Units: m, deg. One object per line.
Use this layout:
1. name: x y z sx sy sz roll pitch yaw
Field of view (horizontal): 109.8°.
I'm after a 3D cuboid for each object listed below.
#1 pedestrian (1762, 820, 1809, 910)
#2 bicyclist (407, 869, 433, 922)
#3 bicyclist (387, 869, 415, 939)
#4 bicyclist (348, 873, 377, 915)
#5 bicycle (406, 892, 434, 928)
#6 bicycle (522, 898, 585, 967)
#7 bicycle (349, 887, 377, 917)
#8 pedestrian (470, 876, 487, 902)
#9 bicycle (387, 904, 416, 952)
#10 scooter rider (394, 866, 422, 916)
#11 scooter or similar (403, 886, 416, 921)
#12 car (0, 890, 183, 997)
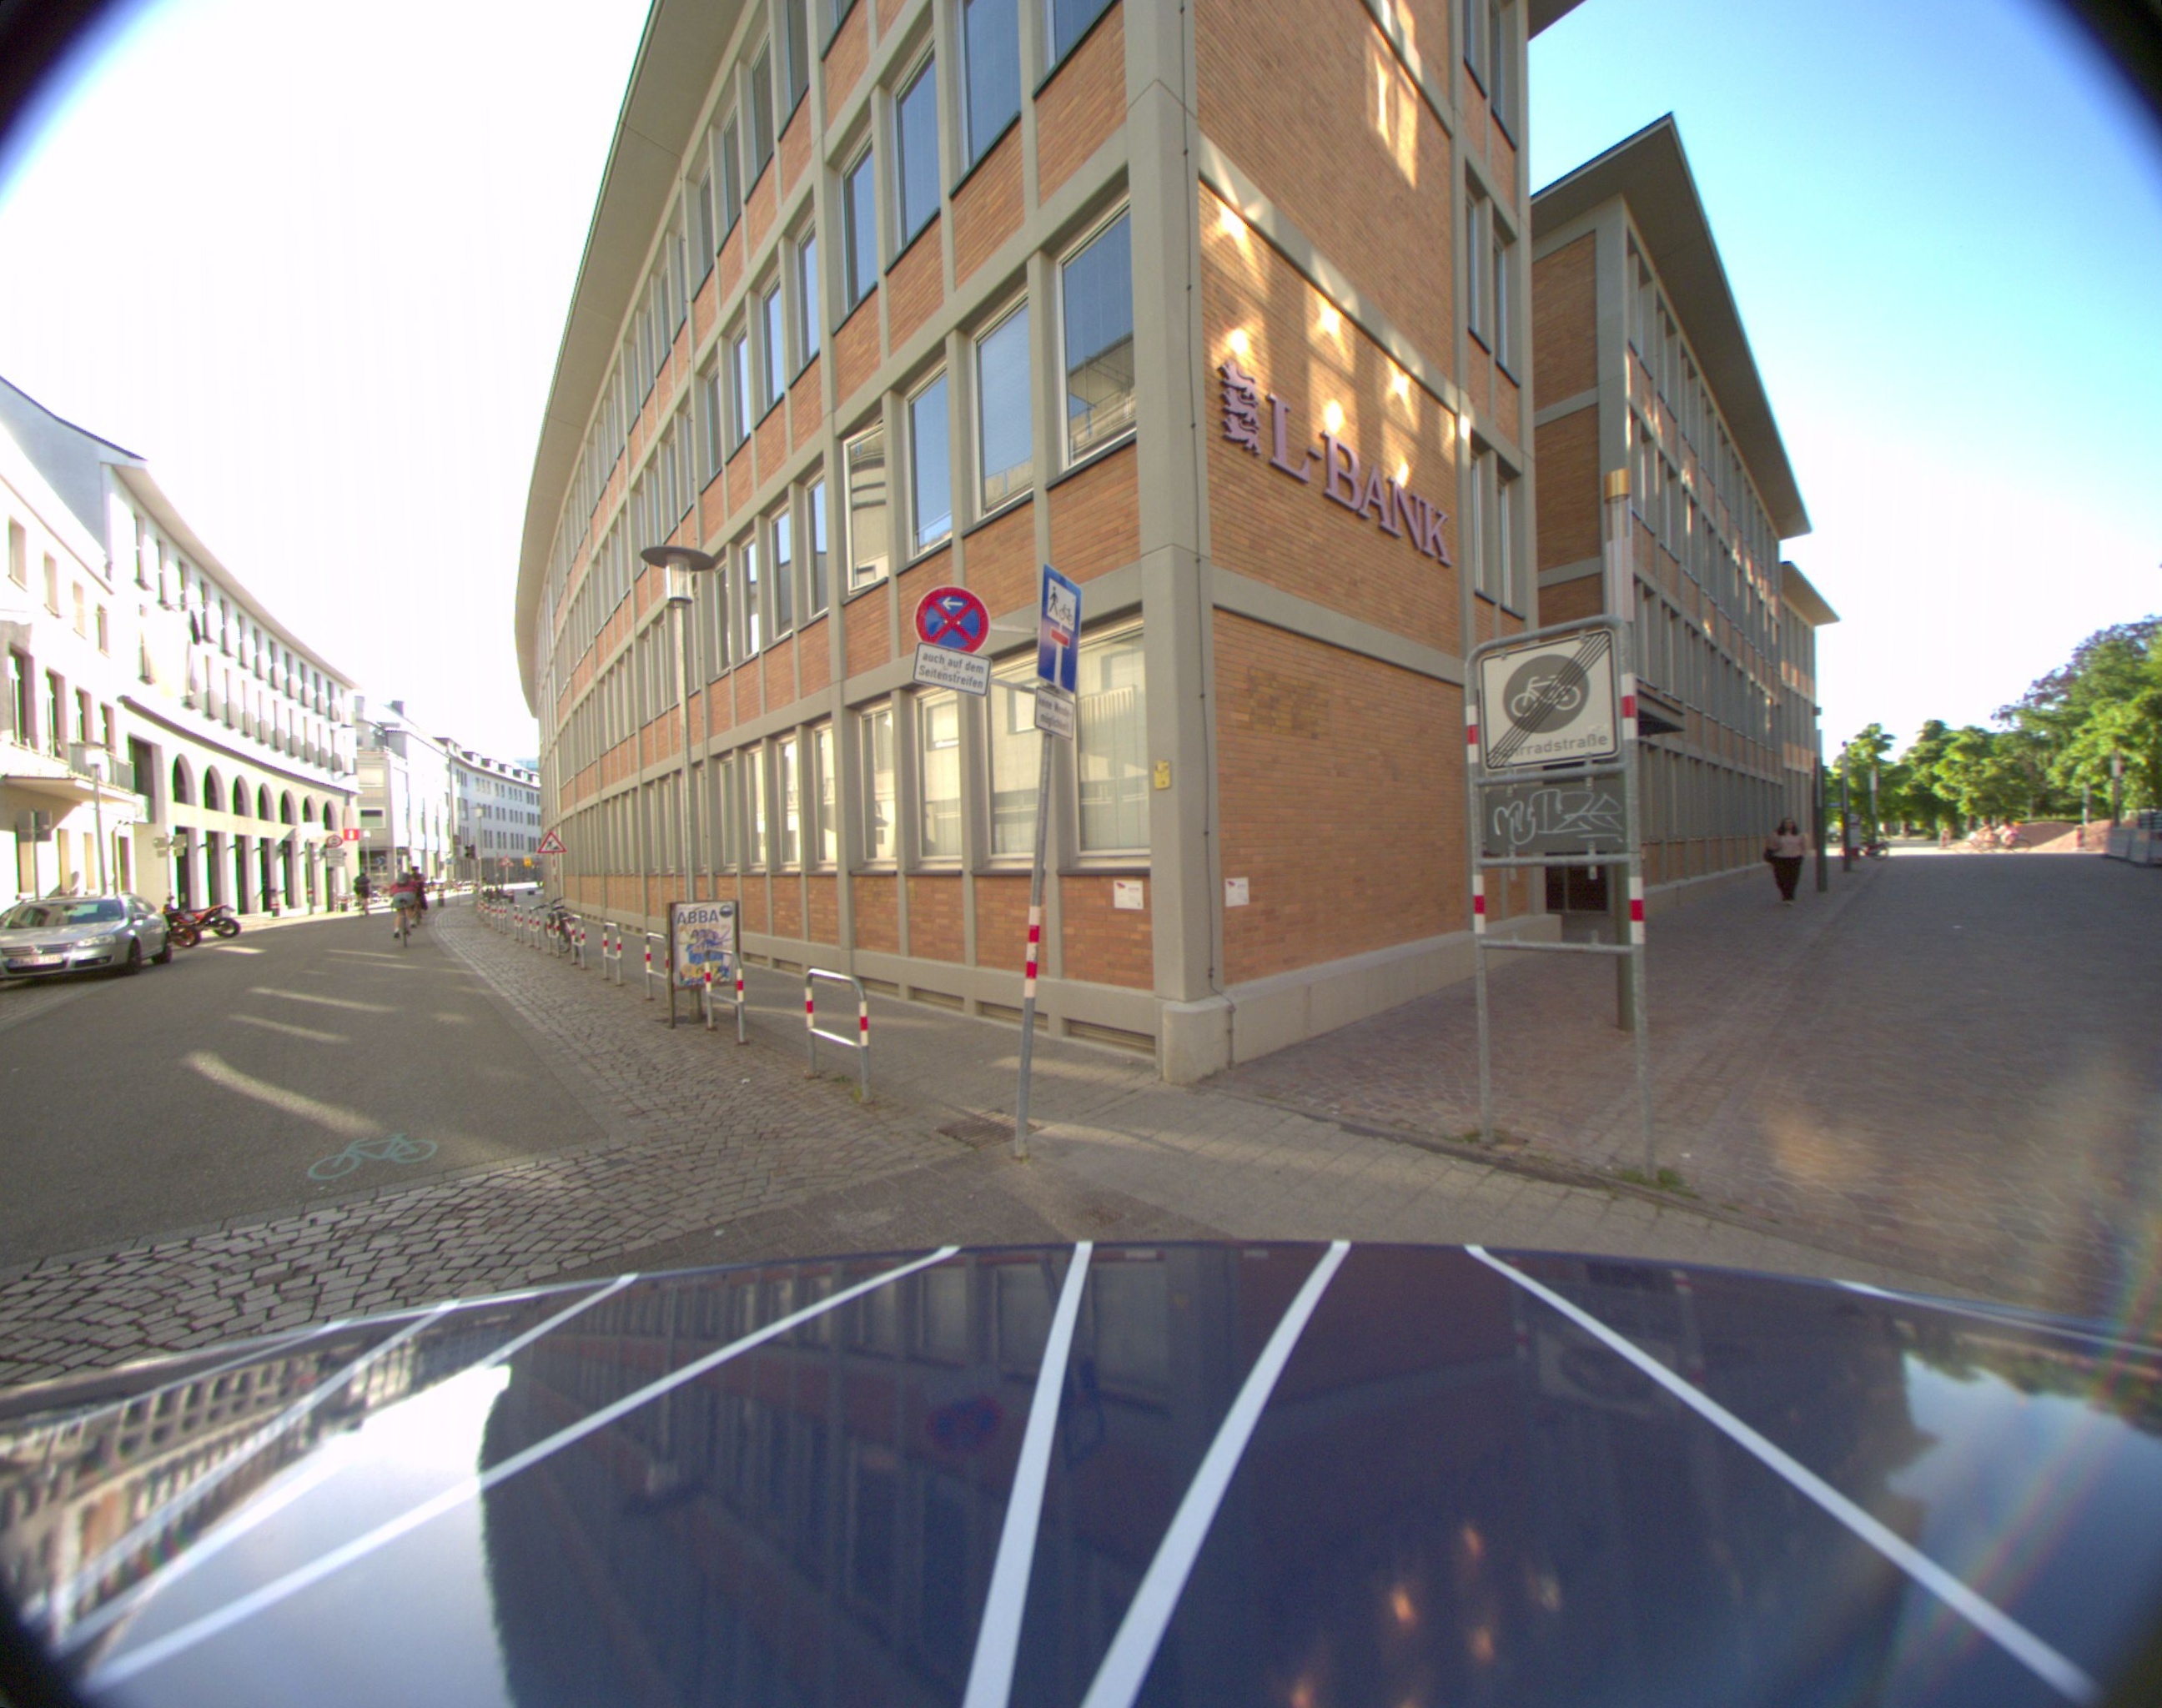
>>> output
1. pedestrian: 14.373 0.230 15.502 0.653 1.775 0.637 0 0 -43
2. bicyclist: -21.275 1.324 24.447 0.621 1.657 0.821 0 -1 -43
3. bicyclist: -15.015 1.089 16.793 0.429 1.489 0.873 -1 0 -41
4. bicyclist: -27.555 1.506 29.149 0.651 1.550 1.107 -4 2 -39
5. bicycle: -21.284 1.786 24.456 0.592 1.045 1.796 -1 -1 -43
6. bicycle: -9.803 1.419 14.100 0.639 1.110 1.925 -4 1 -43
7. bicycle: -27.572 1.829 29.205 0.575 1.045 1.831 -3 1 -38
8. pedestrian: -34.180 1.993 43.087 0.661 1.433 0.594 -3 2 -40
9. bicycle: -15.015 1.608 16.776 0.437 0.951 1.586 -2 1 -43
10. scooter rider: -24.137 1.309 27.262 0.650 1.716 0.700 -3 3 -44
11. scooter or similar: -24.074 1.756 27.244 0.338 1.179 1.275 0 0 -42
12. car: -17.841 1.502 13.530 1.774 1.462 3.802 -5 3 -42
